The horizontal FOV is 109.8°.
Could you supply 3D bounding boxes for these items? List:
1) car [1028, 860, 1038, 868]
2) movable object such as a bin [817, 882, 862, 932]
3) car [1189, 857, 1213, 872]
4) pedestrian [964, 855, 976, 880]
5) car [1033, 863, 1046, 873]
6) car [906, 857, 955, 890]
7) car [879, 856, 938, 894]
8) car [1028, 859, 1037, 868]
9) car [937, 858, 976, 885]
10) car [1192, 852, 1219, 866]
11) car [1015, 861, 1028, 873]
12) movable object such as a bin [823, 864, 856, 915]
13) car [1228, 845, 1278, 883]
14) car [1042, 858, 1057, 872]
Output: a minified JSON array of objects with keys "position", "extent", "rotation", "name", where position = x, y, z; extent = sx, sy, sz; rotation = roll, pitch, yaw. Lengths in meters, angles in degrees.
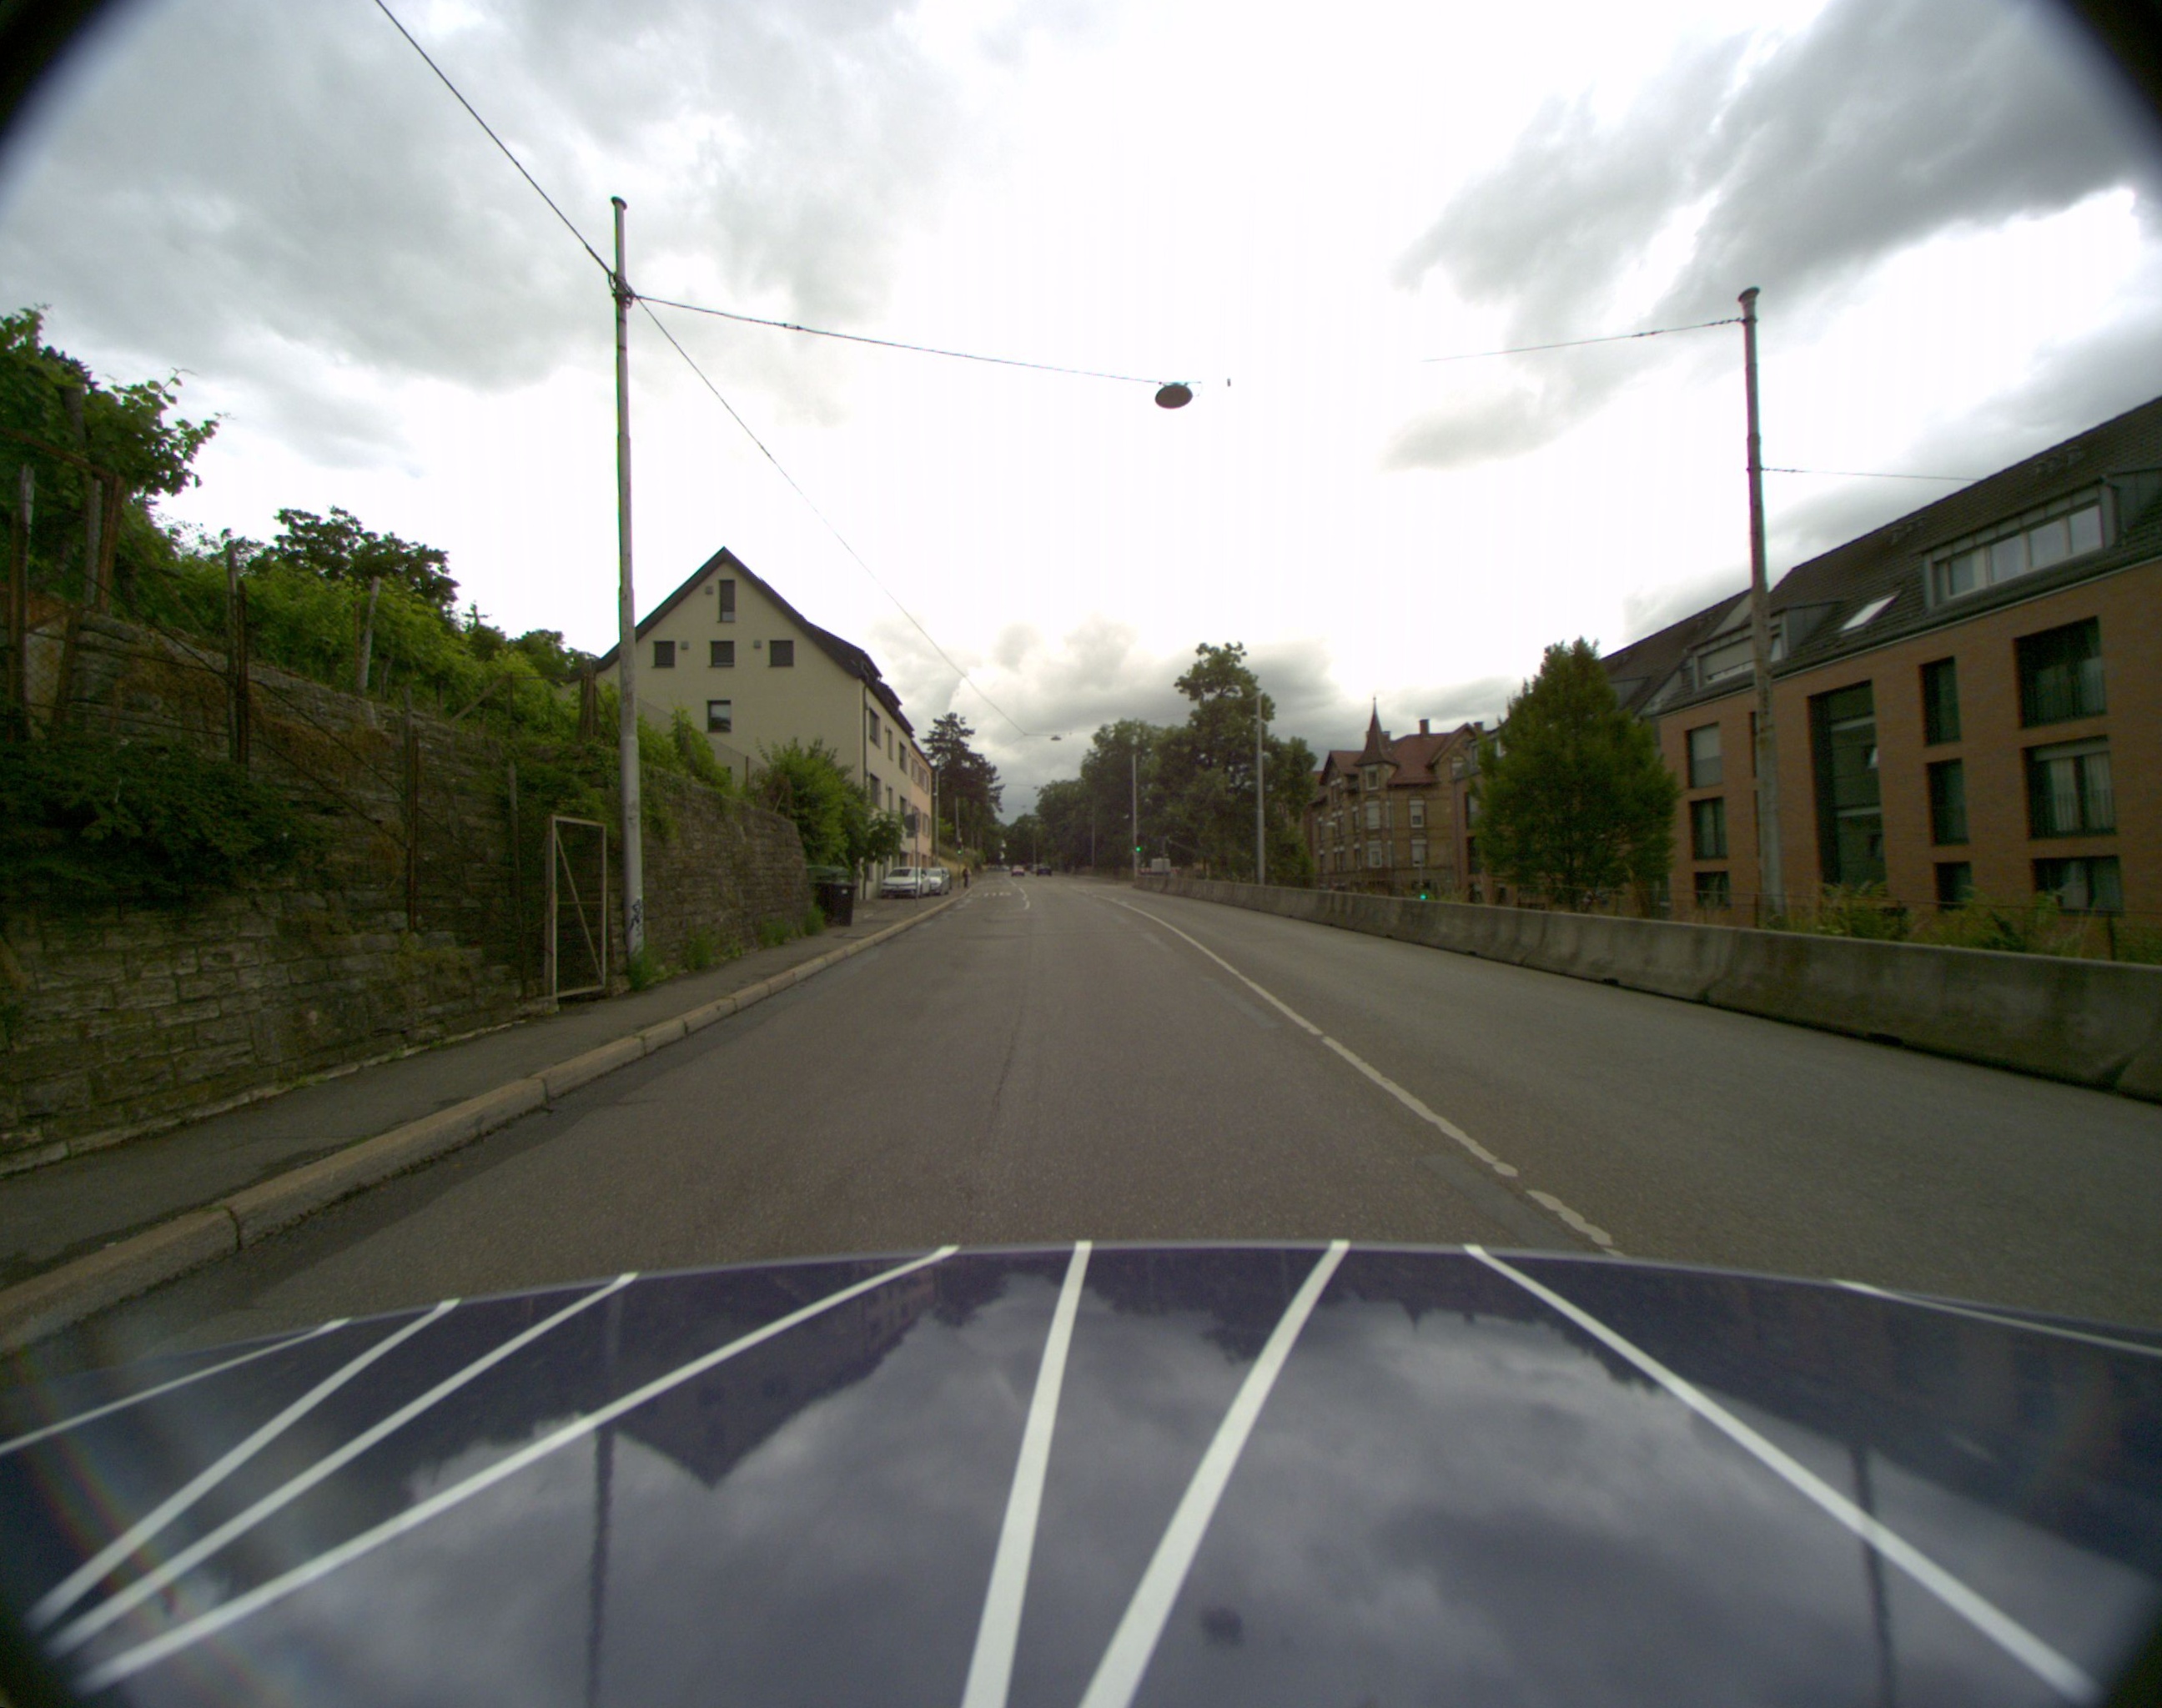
[{"position":[-10.121,2.107,161.095],"extent":[1.999,1.652,3.999],"rotation":[-2,0,-4],"name":"car"},{"position":[-5.810,1.266,18.325],"extent":[0.811,1.120,0.874],"rotation":[-2,0,-2],"name":"movable object such as a bin"},{"position":[13.872,1.199,88.125],"extent":[1.999,1.543,4.000],"rotation":[-2,0,-1],"name":"car"},{"position":[-7.858,0.959,53.832],"extent":[0.735,1.702,0.696],"rotation":[-1,0,2],"name":"pedestrian"},{"position":[-7.240,2.512,133.252],"extent":[1.998,1.652,4.000],"rotation":[-2,0,1],"name":"car"},{"position":[-7.809,0.976,39.883],"extent":[1.732,1.566,4.248],"rotation":[-2,1,-1],"name":"car"},{"position":[-7.859,0.919,34.983],"extent":[1.799,1.566,4.055],"rotation":[-2,1,-1],"name":"car"},{"position":[-10.925,2.103,172.129],"extent":[1.999,1.838,3.999],"rotation":[-2,0,-3],"name":"car"},{"position":[-7.797,1.067,48.020],"extent":[1.909,1.566,4.247],"rotation":[-2,1,-3],"name":"car"},{"position":[12.370,0.450,75.527],"extent":[1.999,1.346,4.000],"rotation":[0,0,-1],"name":"car"},{"position":[-7.801,1.734,99.990],"extent":[1.646,1.429,3.999],"rotation":[-1,-1,-3],"name":"car"},{"position":[-7.586,1.088,23.920],"extent":[0.753,1.533,1.064],"rotation":[-2,0,-8],"name":"movable object such as a bin"},{"position":[12.828,0.669,57.054],"extent":[2.565,2.567,5.736],"rotation":[-2,1,2],"name":"car"},{"position":[-4.333,1.452,103.599],"extent":[1.787,1.871,3.998],"rotation":[-2,0,-4],"name":"car"}]
